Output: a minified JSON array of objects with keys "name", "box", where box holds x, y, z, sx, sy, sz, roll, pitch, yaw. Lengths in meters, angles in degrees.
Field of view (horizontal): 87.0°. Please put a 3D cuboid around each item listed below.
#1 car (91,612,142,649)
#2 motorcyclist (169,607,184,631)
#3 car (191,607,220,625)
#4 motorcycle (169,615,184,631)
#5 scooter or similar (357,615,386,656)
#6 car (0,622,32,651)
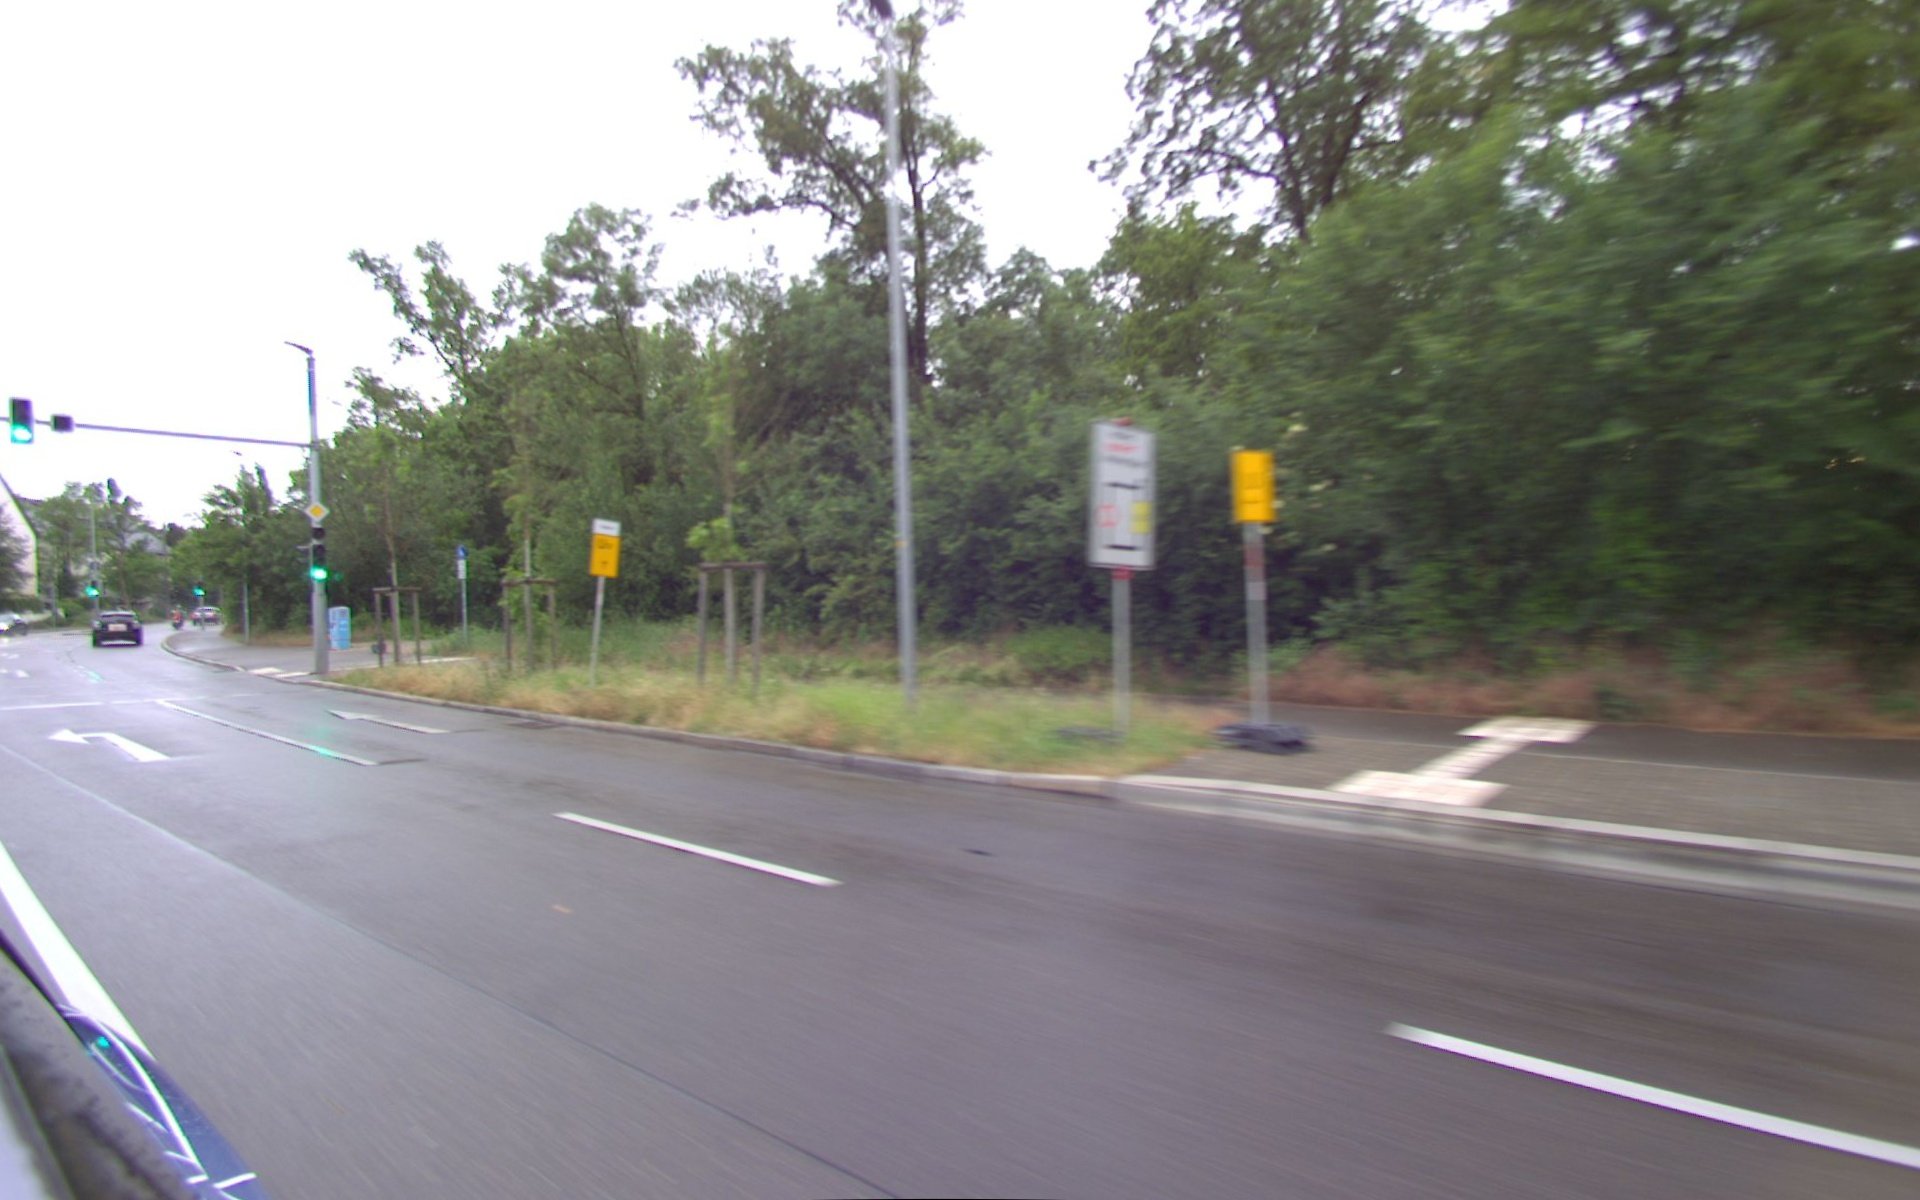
[{"name":"car","box":[-39.234,1.391,47.117,1.766,1.593,4.569,0,-1,-39]},{"name":"motorcyclist","box":[-53.776,1.299,69.442,0.735,1.644,0.930,0,-1,-32]},{"name":"car","box":[-59.714,1.292,80.135,1.717,1.362,4.220,0,-1,-34]},{"name":"motorcycle","box":[-53.852,1.605,69.581,0.586,1.058,2.004,-1,0,-32]},{"name":"scooter or similar","box":[-18.386,1.101,31.609,0.511,1.221,1.471,-2,1,-40]},{"name":"car","box":[-57.561,2.174,60.413,1.912,1.615,4.619,-1,0,-25]}]
